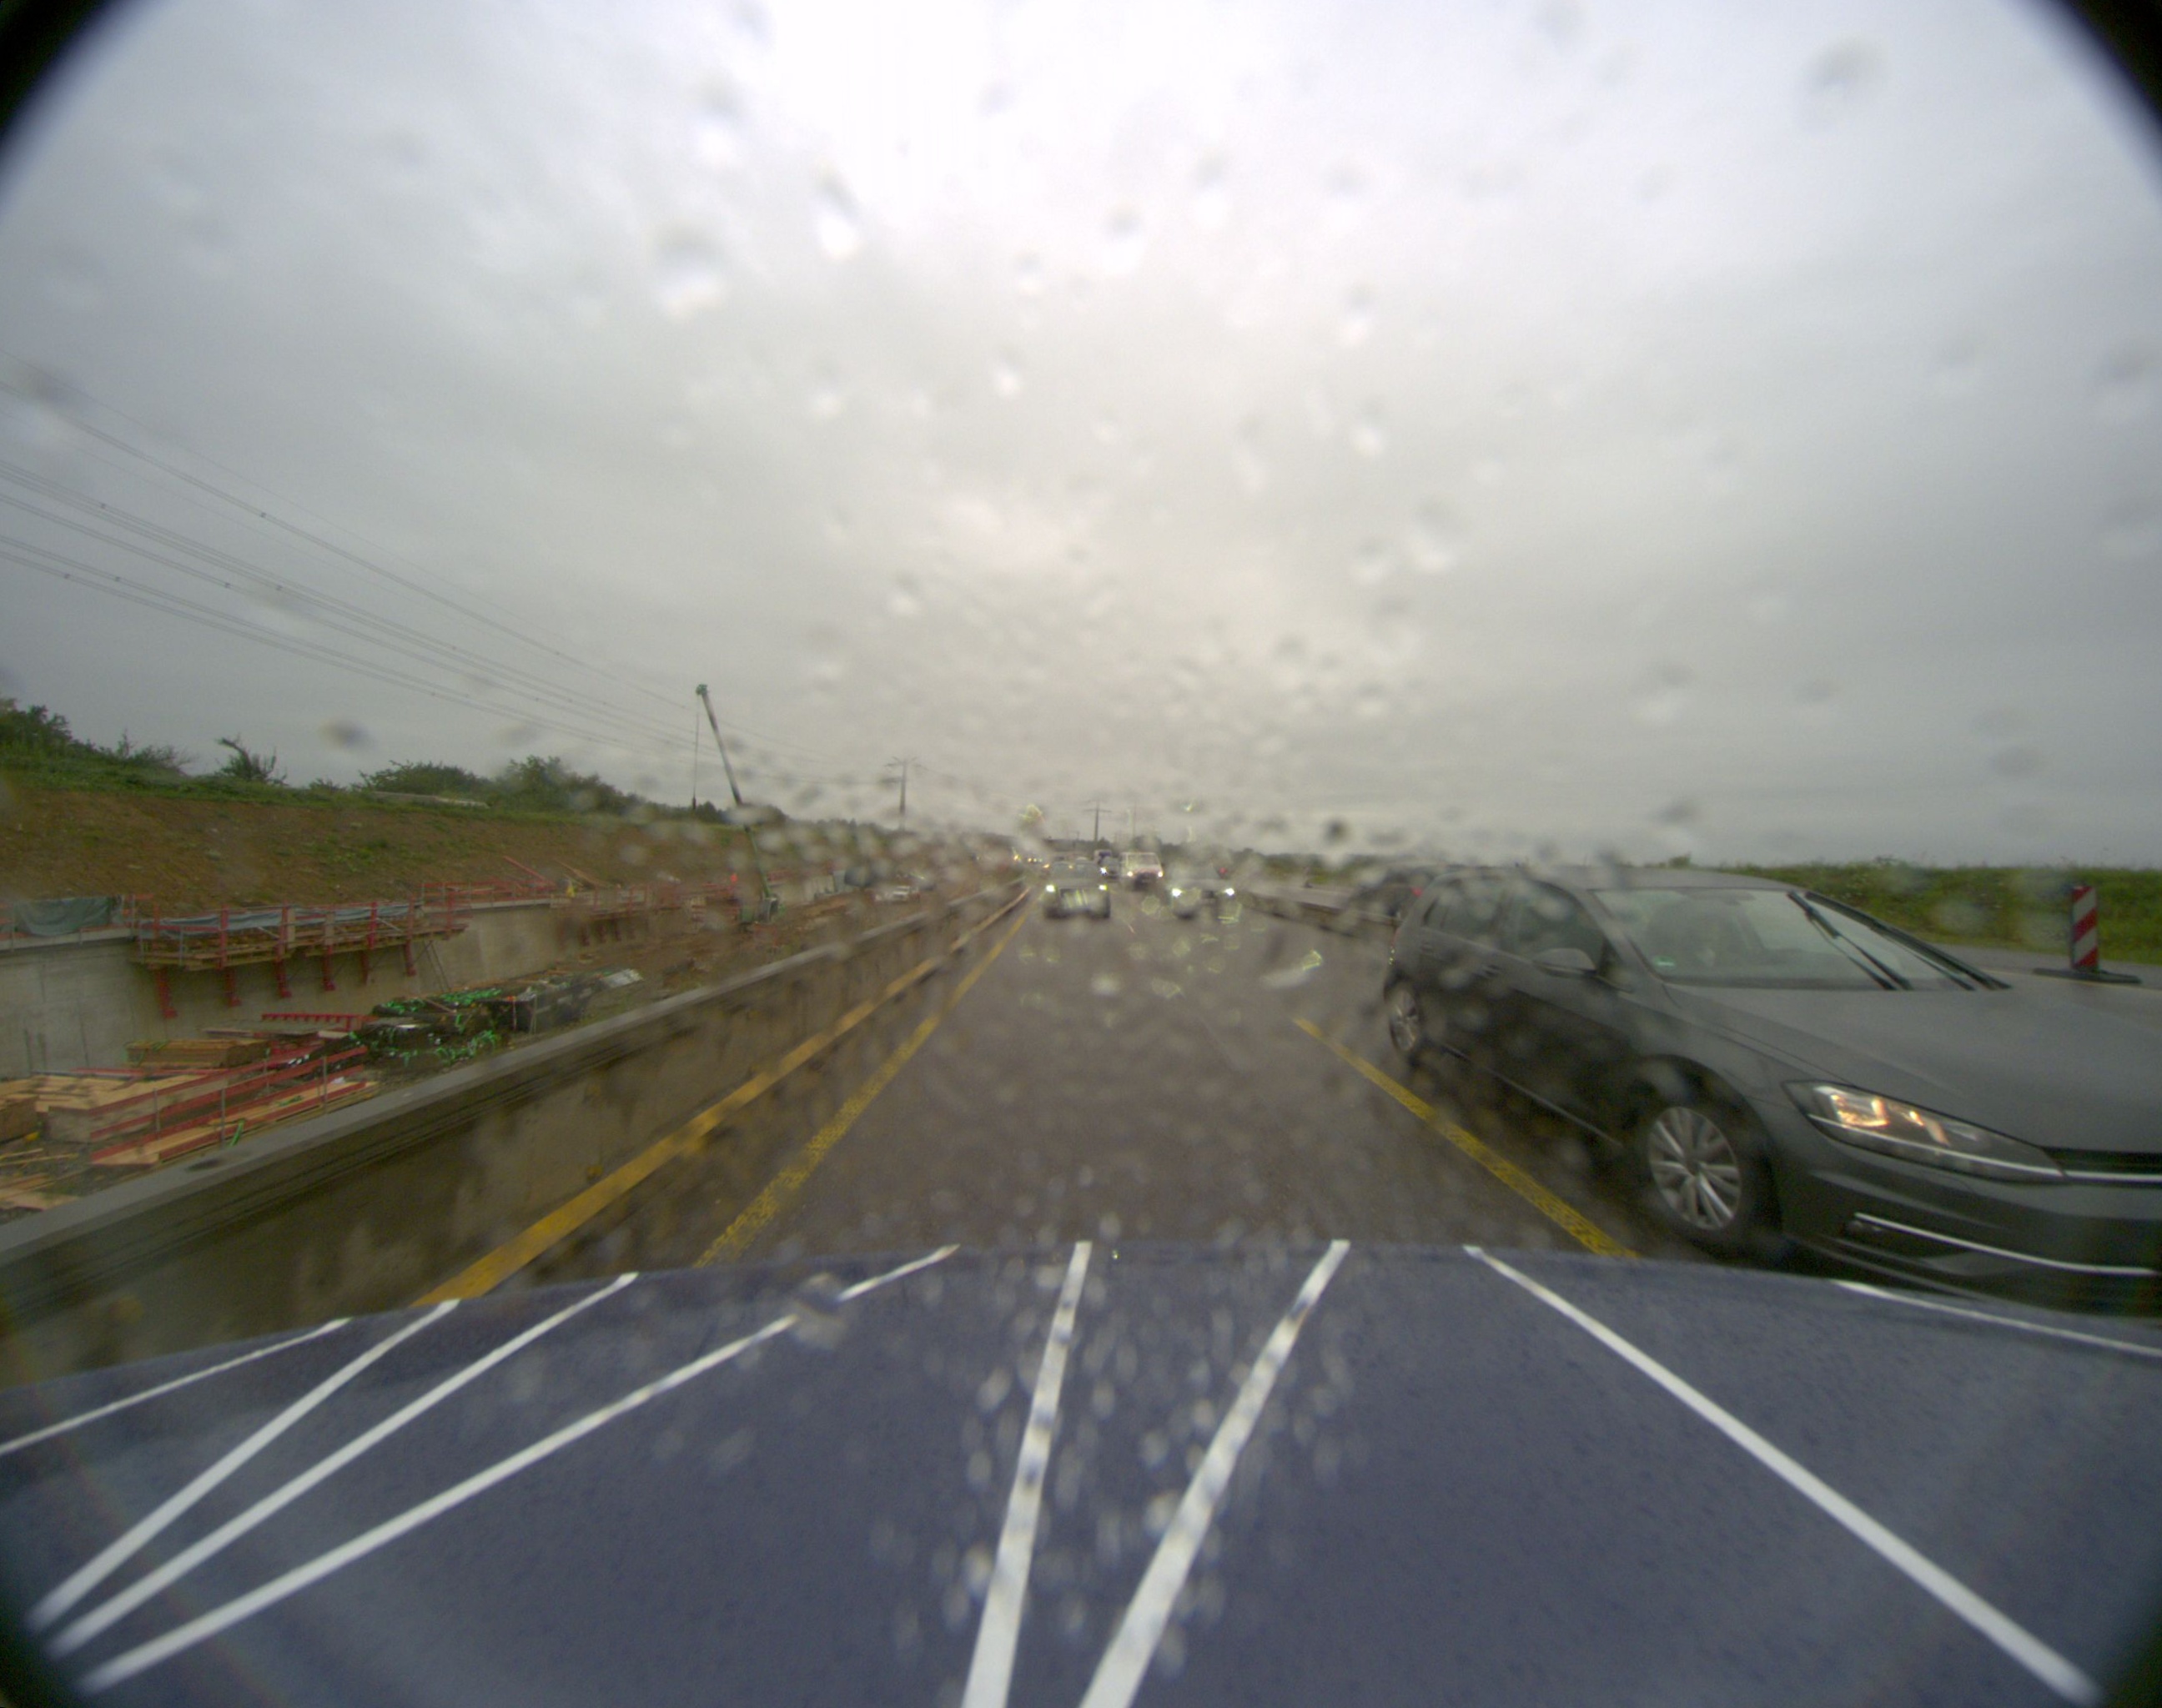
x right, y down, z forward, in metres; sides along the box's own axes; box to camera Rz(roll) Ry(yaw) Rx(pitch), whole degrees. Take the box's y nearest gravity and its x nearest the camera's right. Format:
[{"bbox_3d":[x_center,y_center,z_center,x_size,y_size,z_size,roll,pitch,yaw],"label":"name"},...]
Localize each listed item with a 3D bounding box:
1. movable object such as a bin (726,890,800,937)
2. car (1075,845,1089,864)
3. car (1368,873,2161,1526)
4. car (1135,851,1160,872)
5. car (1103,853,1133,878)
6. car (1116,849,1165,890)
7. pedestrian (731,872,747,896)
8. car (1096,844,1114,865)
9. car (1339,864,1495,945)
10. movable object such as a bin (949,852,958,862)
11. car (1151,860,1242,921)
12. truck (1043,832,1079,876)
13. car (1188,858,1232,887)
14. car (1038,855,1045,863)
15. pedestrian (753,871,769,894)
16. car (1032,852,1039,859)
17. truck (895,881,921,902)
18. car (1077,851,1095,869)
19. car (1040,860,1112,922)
[{"bbox_3d":[-24.439,4.514,58.730,3.803,2.790,4.848,0,6,-3],"label":"movable object such as a bin"},{"bbox_3d":[0.146,0.081,125.513,1.999,2.995,5.778,-1,0,-2],"label":"car"},{"bbox_3d":[3.091,0.890,3.887,1.654,1.414,4.079,-1,1,-1],"label":"car"},{"bbox_3d":[5.786,0.648,66.839,1.795,1.713,4.287,-1,0,0],"label":"car"},{"bbox_3d":[2.505,0.763,52.496,1.799,1.521,4.067,-1,1,0],"label":"car"},{"bbox_3d":[2.930,0.736,38.328,2.160,1.848,5.179,-1,1,2],"label":"car"},{"bbox_3d":[-33.838,2.913,75.135,0.918,2.233,1.005,-6,2,-6],"label":"pedestrian"},{"bbox_3d":[3.026,0.099,96.270,2.029,2.533,5.957,0,0,-1],"label":"car"},{"bbox_3d":[6.967,0.974,16.187,1.670,1.457,3.732,-1,0,1],"label":"car"},{"bbox_3d":[-35.043,0.850,208.975,2.253,2.703,3.997,-1,1,-6],"label":"movable object such as a bin"},{"bbox_3d":[3.078,0.936,21.090,1.800,1.389,4.268,-1,1,-1],"label":"car"},{"bbox_3d":[-1.876,-0.045,67.652,2.838,3.617,9.116,-1,1,-3],"label":"truck"},{"bbox_3d":[6.983,0.977,41.599,1.614,1.435,4.461,-1,0,0],"label":"car"},{"bbox_3d":[-9.719,1.195,187.698,1.800,1.850,4.285,-1,1,-3],"label":"car"},{"bbox_3d":[-32.034,2.850,76.150,0.917,2.219,1.005,-5,2,1],"label":"pedestrian"},{"bbox_3d":[-12.419,0.359,208.386,1.800,1.850,4.286,-1,1,0],"label":"car"},{"bbox_3d":[-19.202,4.122,84.394,1.767,1.860,5.784,1,1,-2],"label":"truck"},{"bbox_3d":[0.556,0.619,81.995,1.800,1.850,4.286,-1,1,-1],"label":"car"},{"bbox_3d":[-0.063,0.959,21.664,1.799,1.524,4.308,-1,0,2],"label":"car"}]
